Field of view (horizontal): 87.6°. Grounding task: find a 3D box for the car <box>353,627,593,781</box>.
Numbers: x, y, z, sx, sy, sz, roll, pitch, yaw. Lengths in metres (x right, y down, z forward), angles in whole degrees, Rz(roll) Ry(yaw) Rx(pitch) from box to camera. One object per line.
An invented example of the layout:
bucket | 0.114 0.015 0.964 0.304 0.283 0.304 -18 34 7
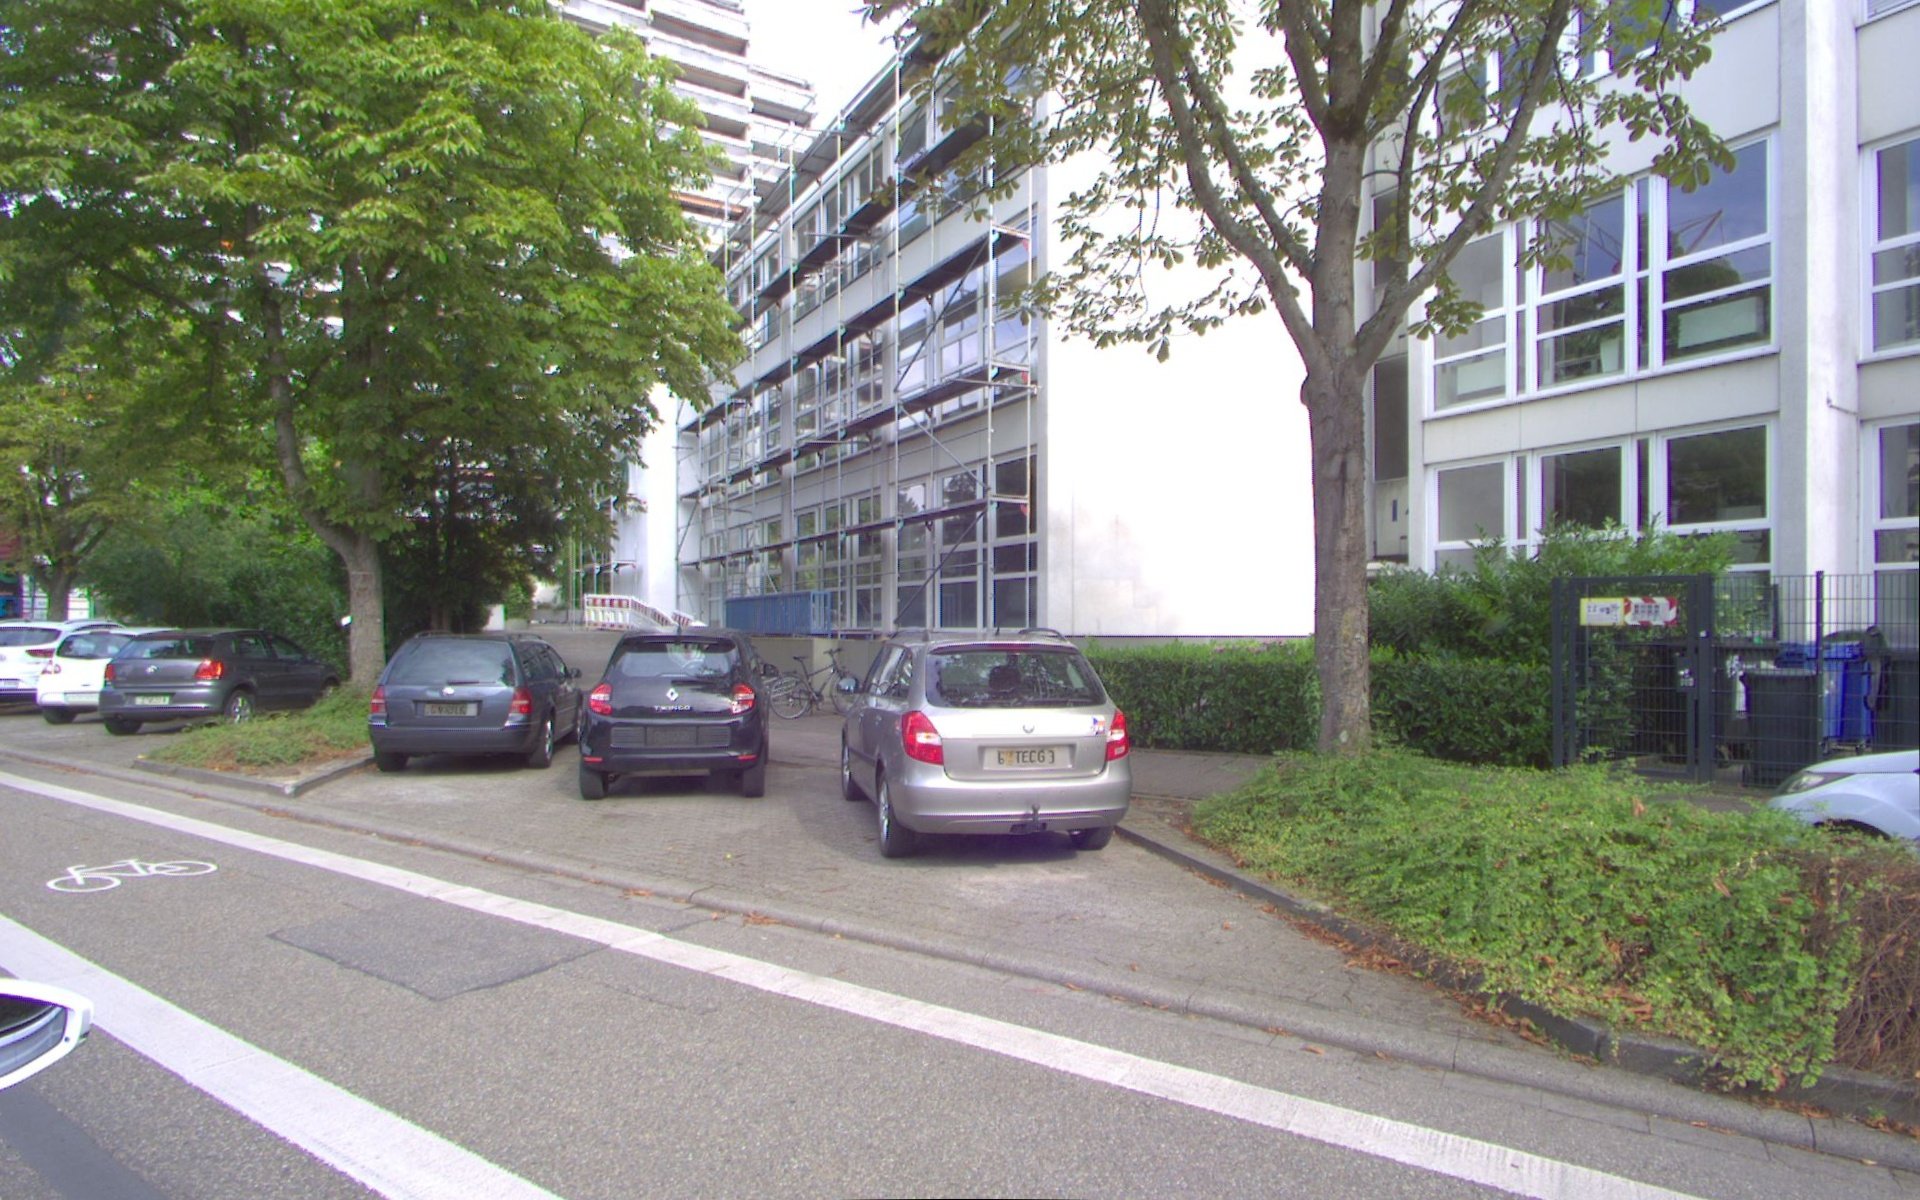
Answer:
car | -5.392 1.067 11.582 1.610 1.477 3.738 1 -2 -12

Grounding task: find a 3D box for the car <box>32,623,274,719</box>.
car | -13.436 1.131 16.949 1.530 1.461 3.447 0 -2 -6

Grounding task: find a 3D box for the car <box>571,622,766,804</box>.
car | -2.876 1.028 10.468 1.610 1.541 3.738 0 -2 -12

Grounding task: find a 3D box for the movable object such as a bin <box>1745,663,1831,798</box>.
movable object such as a bin | 7.350 1.126 8.888 0.566 1.117 0.647 0 -2 42

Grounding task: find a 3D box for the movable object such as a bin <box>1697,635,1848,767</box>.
movable object such as a bin | 9.132 1.094 11.269 1.021 1.385 1.072 2 -2 -33

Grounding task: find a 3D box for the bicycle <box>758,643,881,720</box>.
bicycle | -2.311 1.323 16.567 1.943 1.143 0.536 -1 0 -27

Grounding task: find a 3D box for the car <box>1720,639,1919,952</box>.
car | 5.562 0.907 4.030 1.611 1.478 3.826 1 -2 -14

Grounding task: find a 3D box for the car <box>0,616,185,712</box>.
car | -16.179 1.113 18.331 1.530 1.593 3.447 0 -1 -6

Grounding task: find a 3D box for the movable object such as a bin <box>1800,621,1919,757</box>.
movable object such as a bin | 11.268 1.068 12.406 1.021 1.582 1.072 2 -2 -33

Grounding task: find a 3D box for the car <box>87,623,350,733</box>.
car | -11.000 1.100 15.175 1.593 1.461 3.536 0 -2 -6

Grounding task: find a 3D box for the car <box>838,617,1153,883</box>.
car | 0.015 0.942 7.806 1.610 1.541 3.738 0 -2 -12

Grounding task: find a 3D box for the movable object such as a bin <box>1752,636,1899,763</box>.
movable object such as a bin | 10.118 1.125 11.724 1.021 1.385 1.072 2 -2 -33

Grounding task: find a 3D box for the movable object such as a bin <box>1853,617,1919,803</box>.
movable object such as a bin | 8.534 0.922 8.462 1.316 1.527 1.067 0 -2 34

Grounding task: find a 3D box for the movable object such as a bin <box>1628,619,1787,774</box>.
movable object such as a bin | 8.030 0.995 10.775 1.105 1.542 1.072 2 -2 -33
